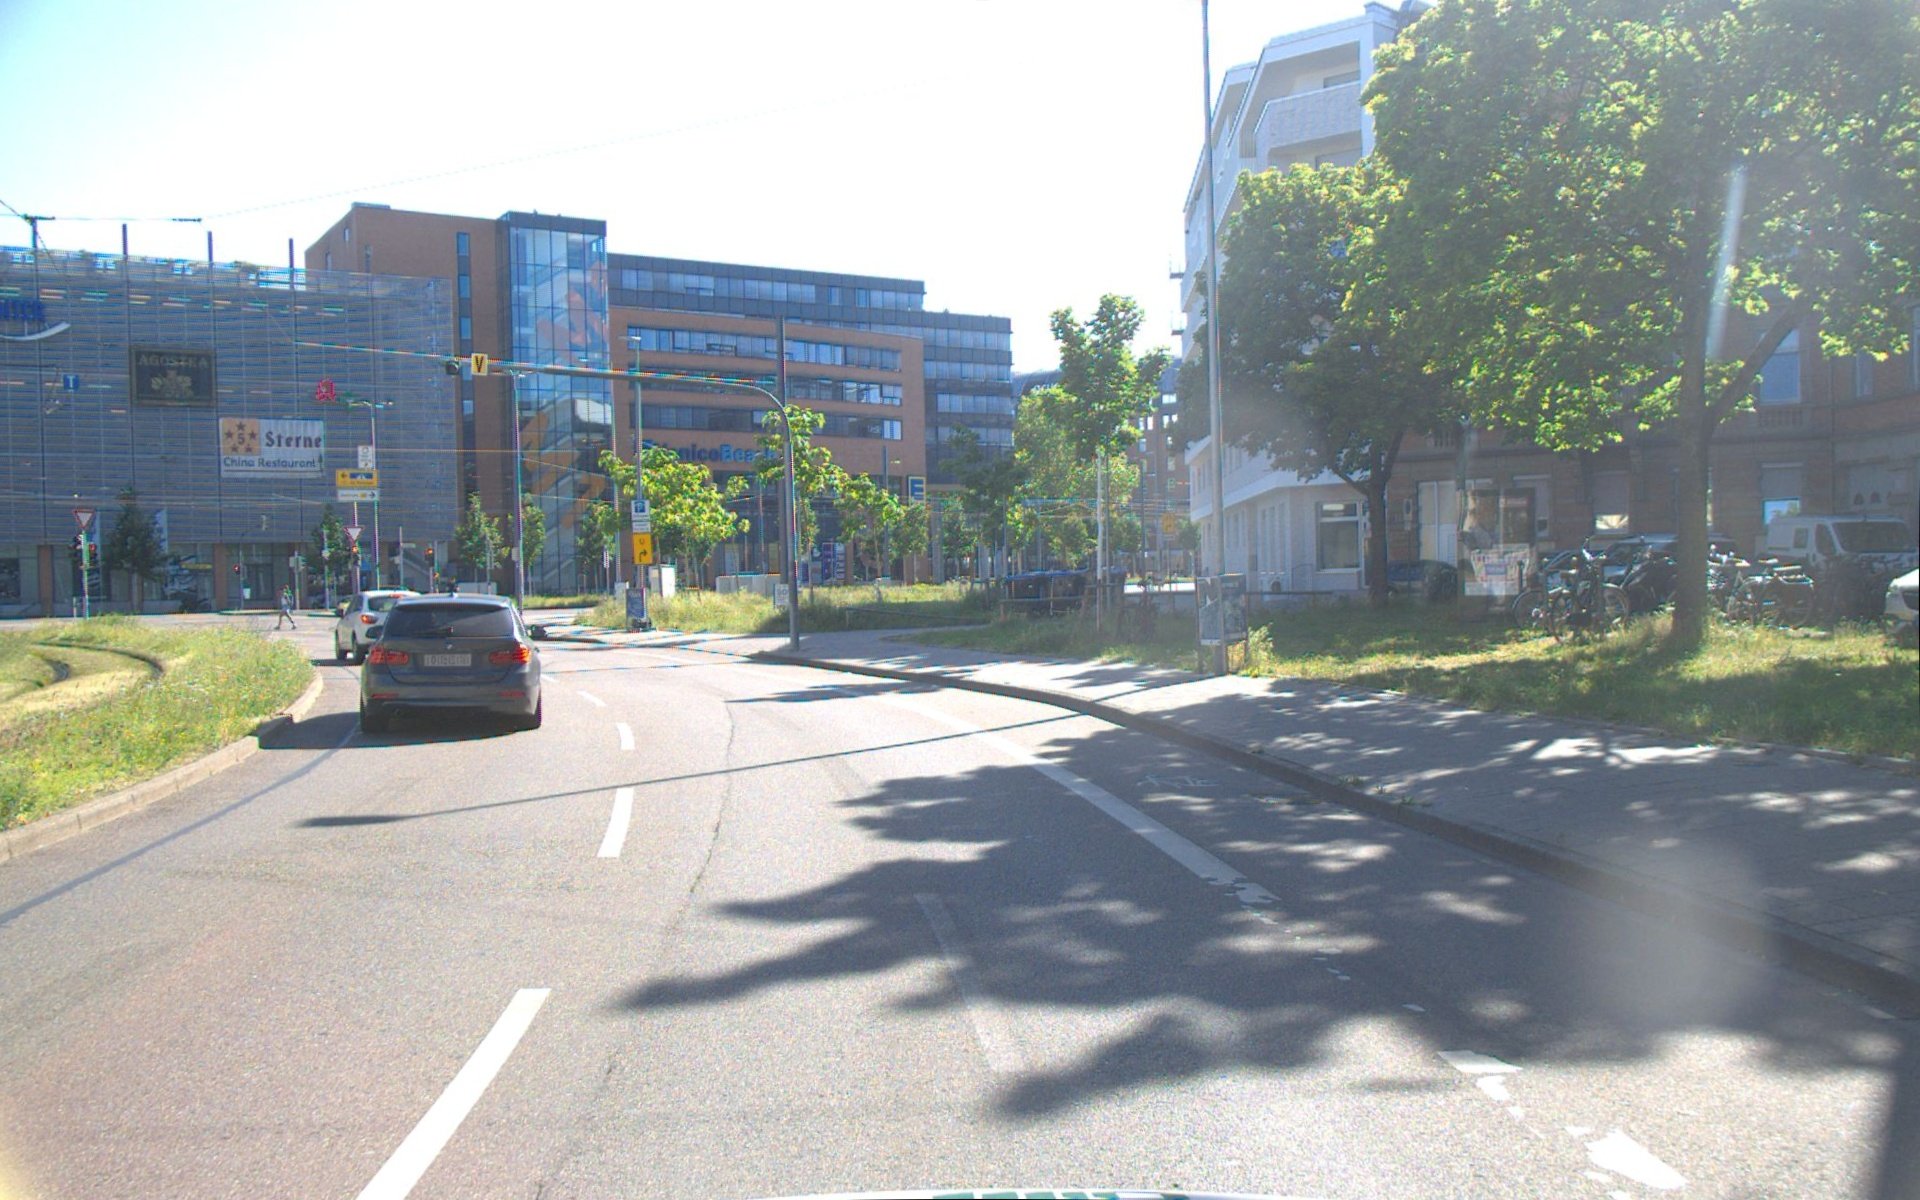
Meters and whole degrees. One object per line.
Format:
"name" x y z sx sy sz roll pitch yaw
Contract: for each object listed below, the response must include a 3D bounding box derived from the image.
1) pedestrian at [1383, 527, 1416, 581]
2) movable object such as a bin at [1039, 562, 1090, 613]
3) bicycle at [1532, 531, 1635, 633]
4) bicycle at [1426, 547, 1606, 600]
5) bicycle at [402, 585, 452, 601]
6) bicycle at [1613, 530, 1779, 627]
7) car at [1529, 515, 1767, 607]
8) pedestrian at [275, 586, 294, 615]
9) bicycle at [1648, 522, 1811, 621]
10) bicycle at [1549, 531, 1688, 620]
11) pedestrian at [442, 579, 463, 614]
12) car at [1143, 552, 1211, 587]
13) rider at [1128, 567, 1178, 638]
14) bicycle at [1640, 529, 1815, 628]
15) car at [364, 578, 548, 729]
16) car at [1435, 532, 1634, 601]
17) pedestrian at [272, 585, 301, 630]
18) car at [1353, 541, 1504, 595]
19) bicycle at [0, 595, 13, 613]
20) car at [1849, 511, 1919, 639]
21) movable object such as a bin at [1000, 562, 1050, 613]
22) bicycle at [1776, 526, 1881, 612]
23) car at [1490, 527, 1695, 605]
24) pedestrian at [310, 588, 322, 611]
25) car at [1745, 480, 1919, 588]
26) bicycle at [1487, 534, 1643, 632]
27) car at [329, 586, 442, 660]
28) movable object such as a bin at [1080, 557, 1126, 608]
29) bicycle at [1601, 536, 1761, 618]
"pedestrian" 13.295 -1.396 50.039 0.631 1.604 0.767 -2 1 41
"movable object such as a bin" 3.112 -0.372 49.164 1.085 1.422 1.321 -2 1 23
"bicycle" 8.636 -0.261 22.880 0.756 1.312 1.588 -2 2 43
"bicycle" 13.784 -0.670 41.398 2.621 1.146 5.221 -2 1 -2
"bicycle" -39.038 -0.510 121.145 3.324 1.096 1.106 -2 1 -29
"bicycle" 10.414 -0.308 23.445 1.917 1.212 0.842 -4 1 3
"car" 13.382 -0.764 32.153 4.406 1.593 1.920 -3 1 -28
"pedestrian" -42.562 0.046 104.225 0.849 1.768 0.742 -3 1 -41
"bicycle" 11.523 -0.427 24.801 2.051 1.388 0.787 -2 1 -2
"bicycle" 11.240 -0.427 28.262 2.054 1.423 0.786 -2 1 -8
"pedestrian" -25.852 -0.193 84.199 0.800 1.738 0.752 -2 1 -35
"car" 13.691 -1.907 104.256 3.904 2.048 2.001 -2 1 19
"rider" 3.535 0.031 30.189 0.491 1.196 1.677 -2 2 20
"bicycle" 10.424 -0.294 22.519 1.904 1.201 0.900 -4 0 3
"car" -5.475 0.543 18.263 1.705 1.448 4.449 0 -1 -15
"car" 12.896 -0.755 37.160 3.984 1.360 1.829 -3 1 -20
"pedestrian" -26.749 0.305 65.732 0.878 1.737 0.704 -3 1 -35
"car" 14.260 -0.976 50.381 4.018 1.461 1.996 -2 1 31
"bicycle" -61.355 0.294 104.972 2.010 1.077 1.131 -3 1 -36
"car" 12.707 -0.381 19.249 4.689 1.404 2.025 -3 1 -31
"movable object such as a bin" 1.942 -0.374 49.188 1.047 1.422 1.304 -2 1 23
"bicycle" 14.886 -0.541 28.334 2.078 1.388 0.777 -3 1 -38
"car" 13.341 -0.721 34.926 3.773 1.466 1.751 -3 1 -19
"pedestrian" -44.385 -0.023 113.925 0.584 1.561 0.650 -2 1 -35
"car" 21.874 -1.642 41.251 2.300 2.397 5.191 -4 2 4
"bicycle" 9.203 -0.264 25.207 2.051 1.388 0.787 -2 1 -2
"car" -11.899 0.464 34.148 1.614 1.448 3.746 1 -1 -29
"movable object such as a bin" 4.245 -0.522 48.977 1.008 1.422 1.090 -2 1 23
"bicycle" 11.269 -0.360 25.894 2.118 1.178 0.822 -2 1 -1
